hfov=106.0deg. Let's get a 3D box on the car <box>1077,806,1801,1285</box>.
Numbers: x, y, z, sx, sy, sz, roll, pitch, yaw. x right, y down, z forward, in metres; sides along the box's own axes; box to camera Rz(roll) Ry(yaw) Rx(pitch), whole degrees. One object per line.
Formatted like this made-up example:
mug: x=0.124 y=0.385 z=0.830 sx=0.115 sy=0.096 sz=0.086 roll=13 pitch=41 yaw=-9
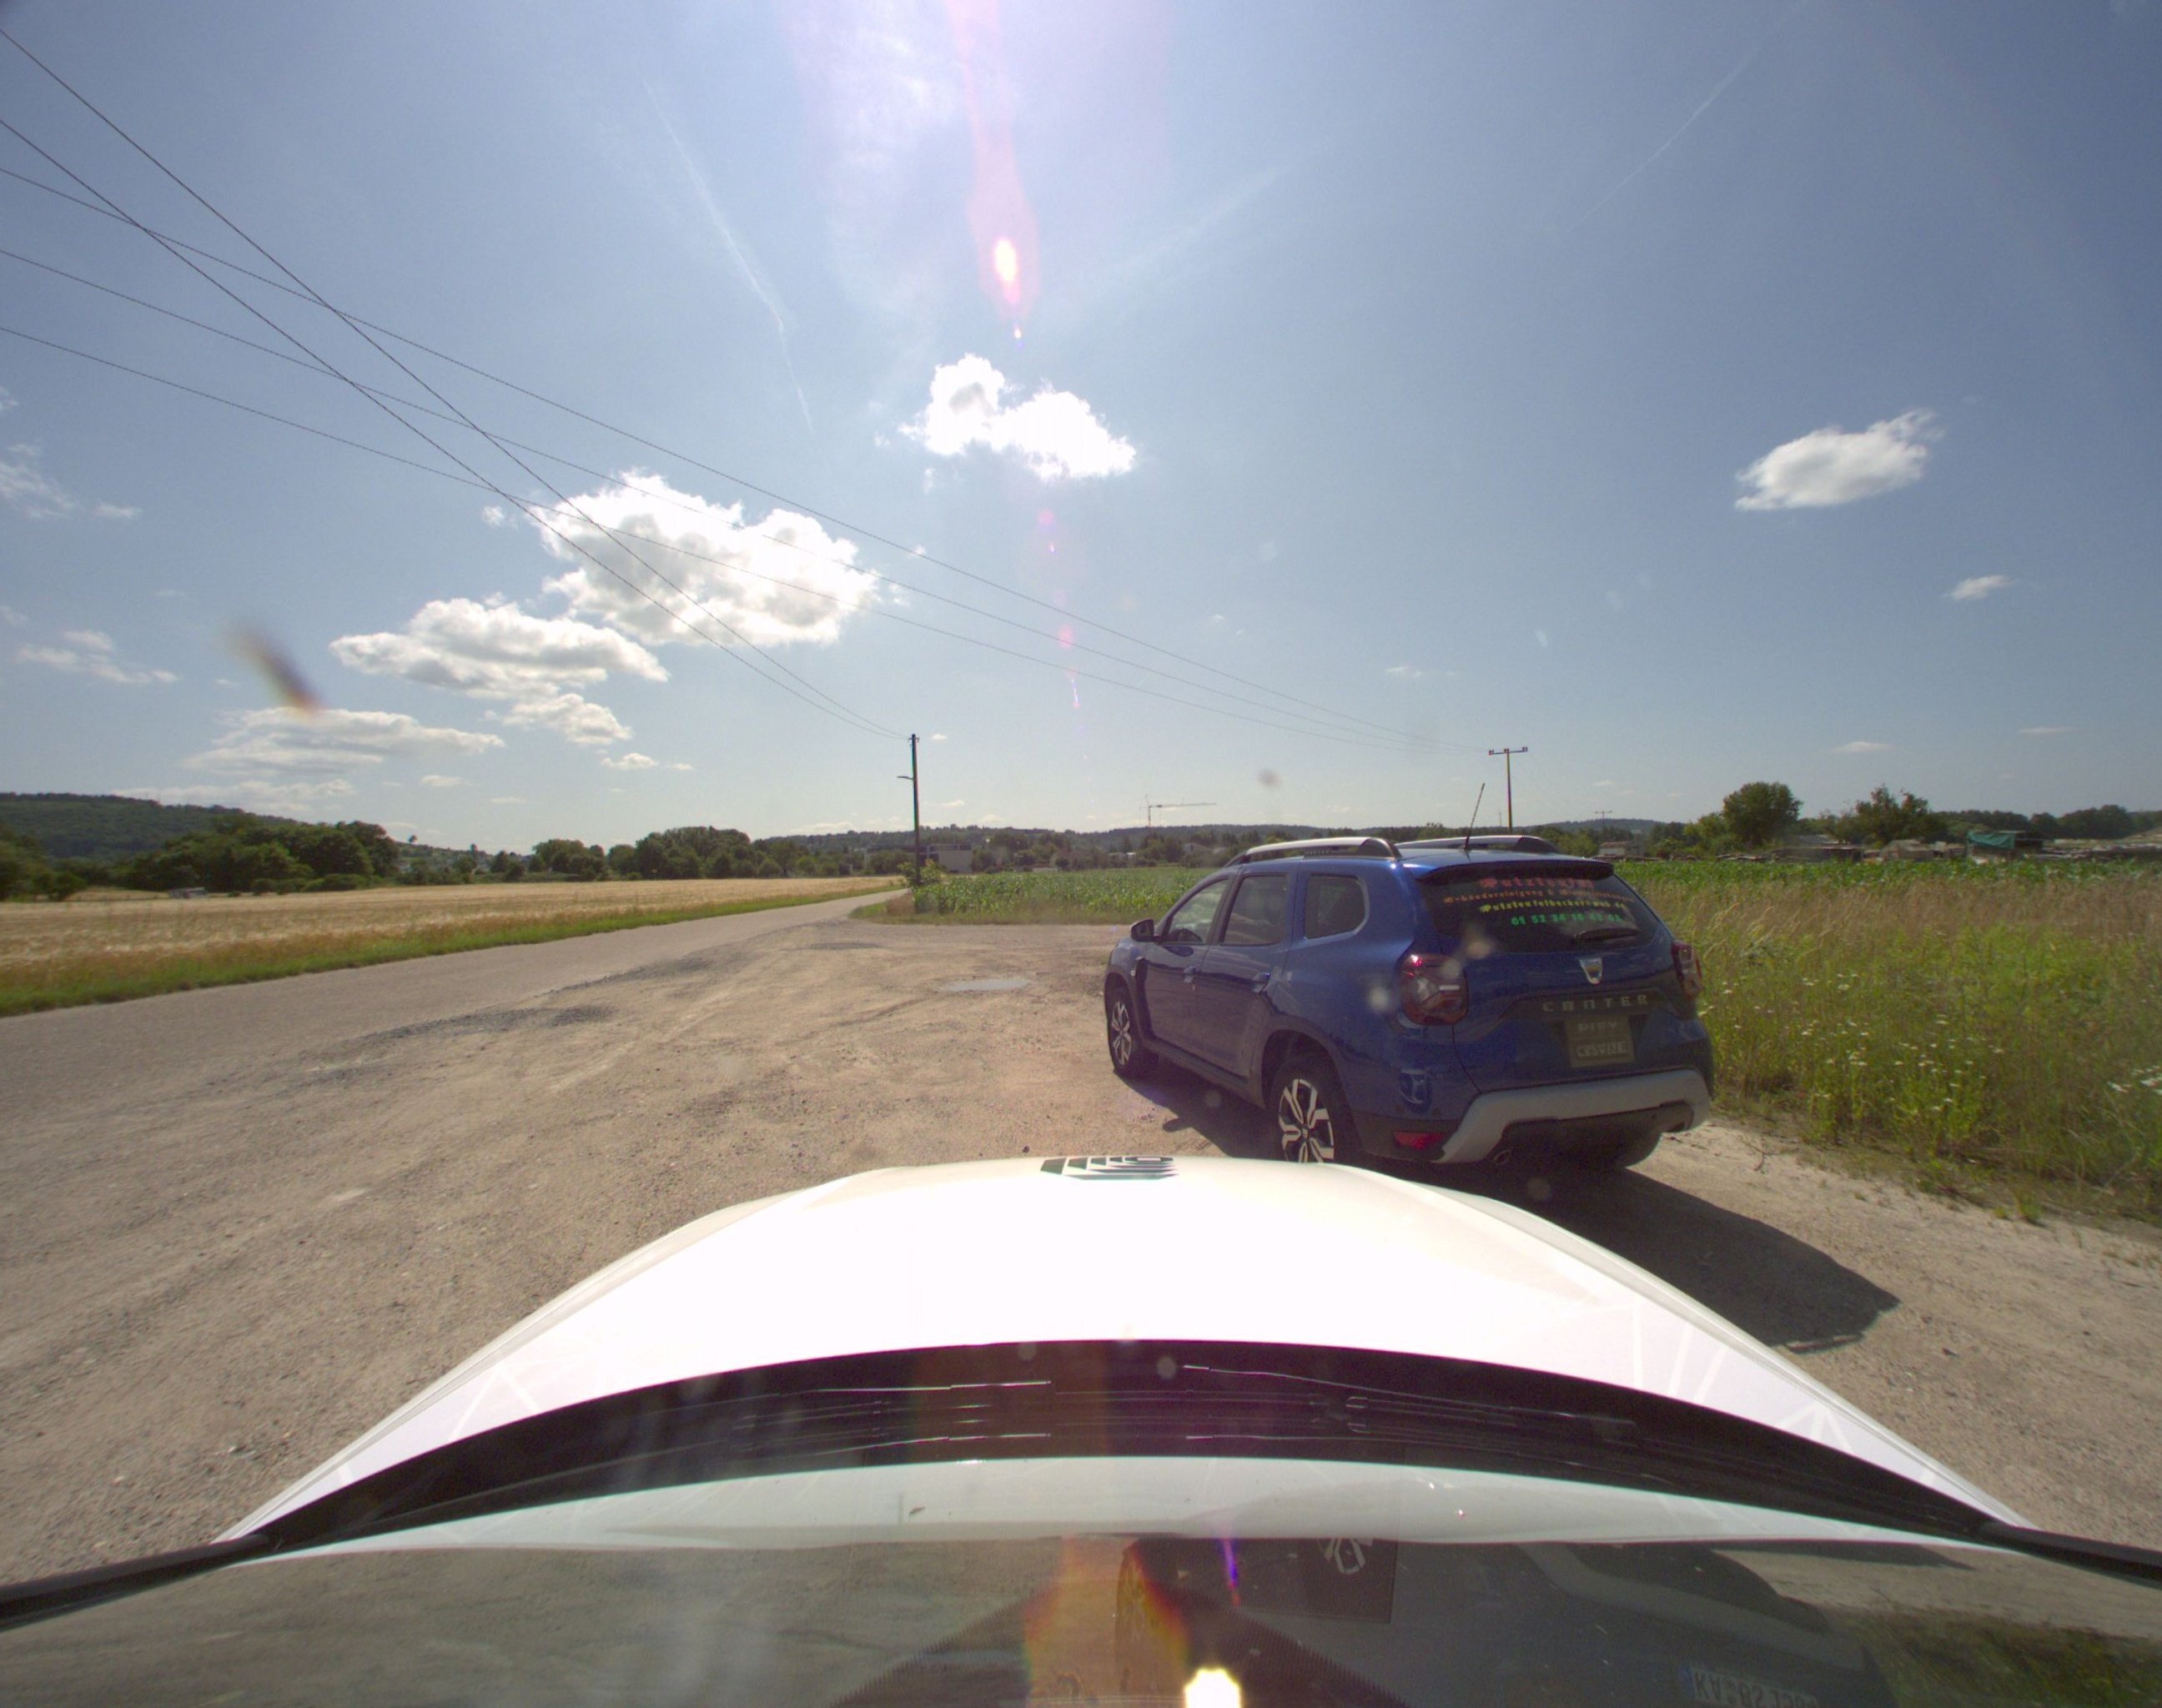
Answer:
car: x=1.463 y=0.733 z=5.249 sx=1.862 sy=1.661 sz=4.434 roll=0 pitch=-2 yaw=-16
